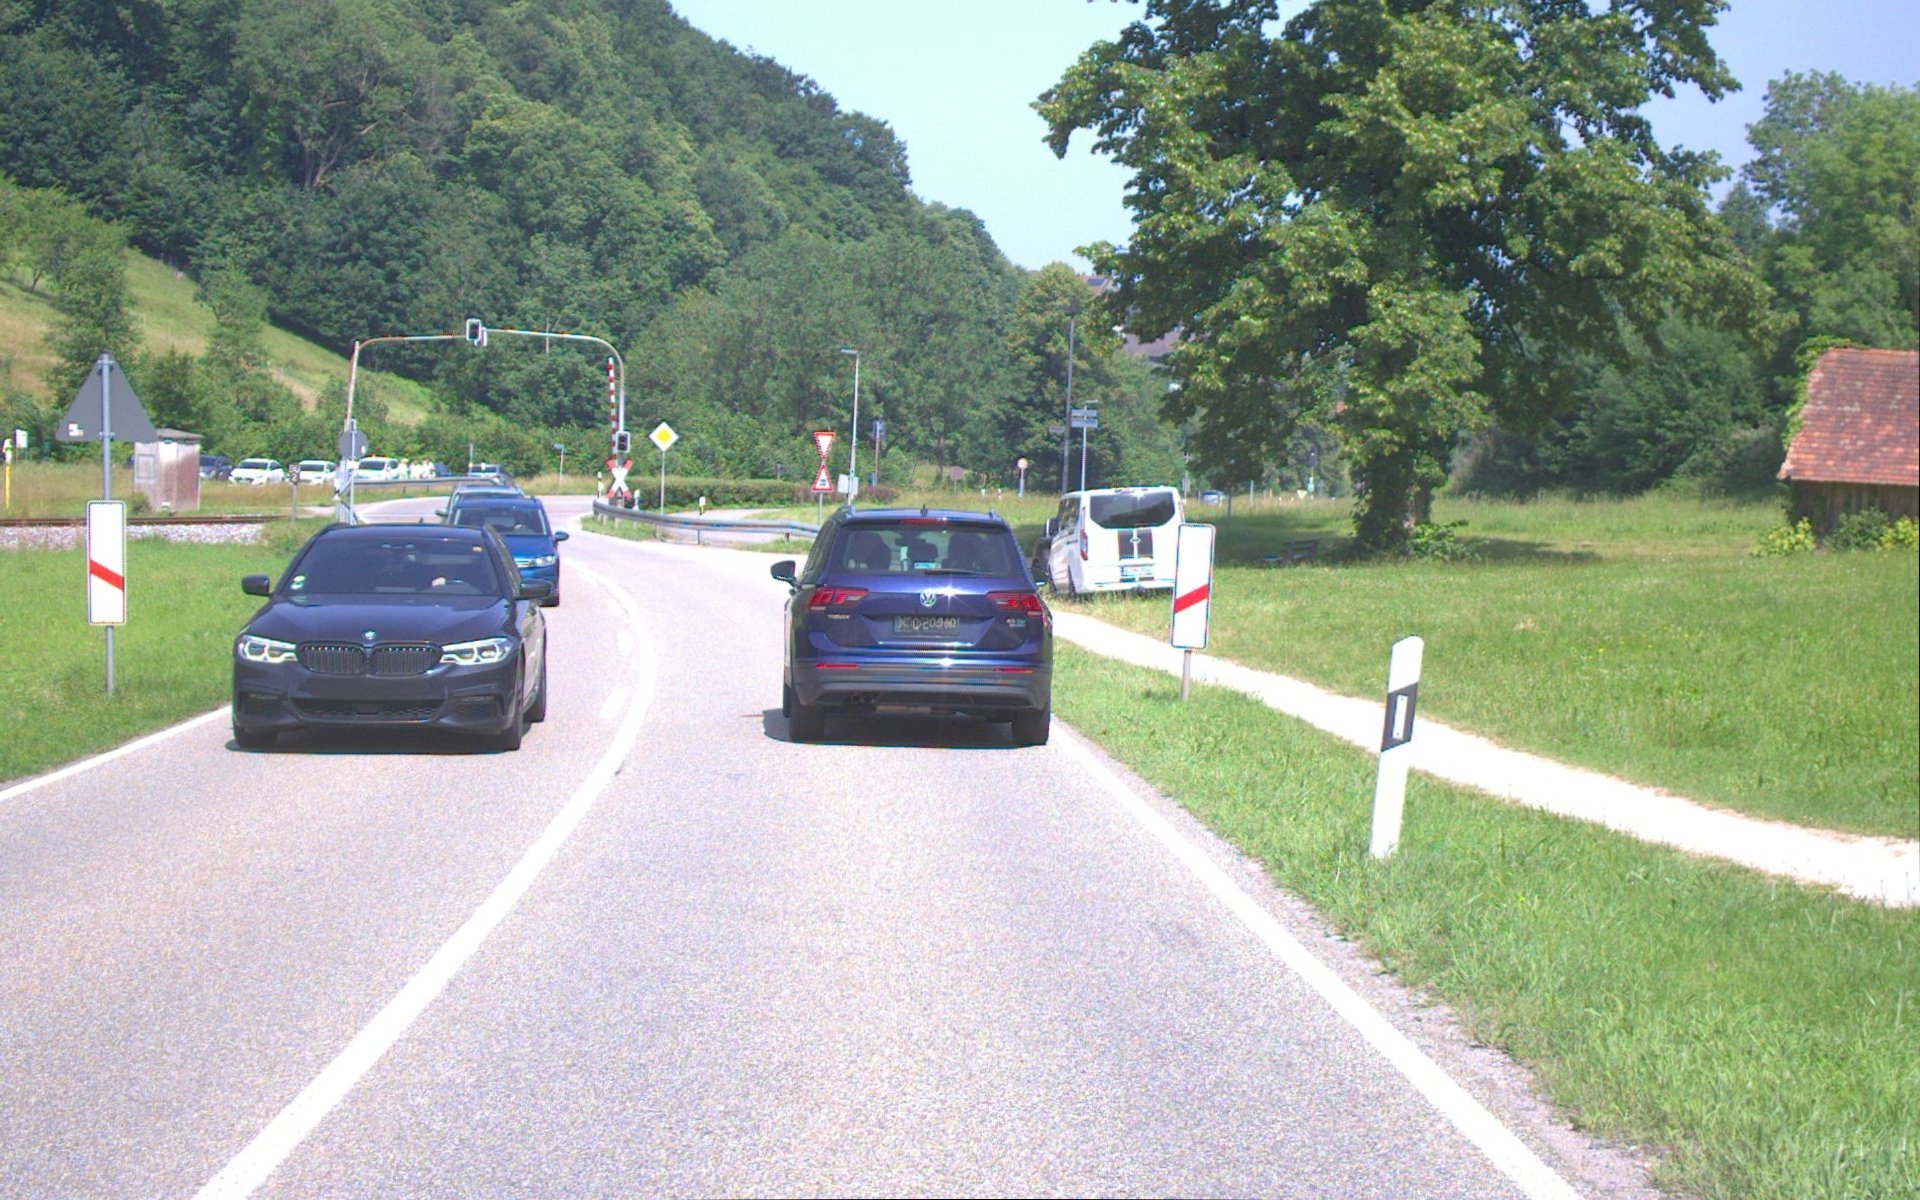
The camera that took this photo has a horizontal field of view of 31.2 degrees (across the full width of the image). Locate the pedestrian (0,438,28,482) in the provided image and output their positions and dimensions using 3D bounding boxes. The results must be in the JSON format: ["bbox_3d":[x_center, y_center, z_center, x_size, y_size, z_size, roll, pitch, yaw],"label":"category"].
[{"bbox_3d":[-43.001,-6.342,155.923,1.127,1.962,0.861,2,2,20],"label":"pedestrian"}]

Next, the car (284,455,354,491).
[{"bbox_3d":[-29.942,-5.923,160.669,1.994,1.635,4.901,1,2,5],"label":"car"}]

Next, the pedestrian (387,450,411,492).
[{"bbox_3d":[-24.938,-5.738,152.790,0.788,1.836,0.698,2,2,16],"label":"pedestrian"}]

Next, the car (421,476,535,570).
[{"bbox_3d":[-9.395,-1.523,66.799,1.914,1.708,4.161,1,2,-12],"label":"car"}]

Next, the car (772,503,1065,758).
[{"bbox_3d":[-0.388,0.146,24.980,1.852,1.643,4.141,1,2,-4],"label":"car"}]

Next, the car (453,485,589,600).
[{"bbox_3d":[-6.740,-0.930,53.131,1.865,1.618,4.512,2,2,-5],"label":"car"}]

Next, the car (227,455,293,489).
[{"bbox_3d":[-32.639,-5.964,160.420,1.994,1.495,4.522,1,2,2],"label":"car"}]

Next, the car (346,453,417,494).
[{"bbox_3d":[-27.068,-5.917,161.070,1.871,1.776,4.771,3,2,8],"label":"car"}]

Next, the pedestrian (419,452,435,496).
[{"bbox_3d":[-23.812,-5.644,153.710,0.660,1.948,0.533,1,2,-5],"label":"pedestrian"}]

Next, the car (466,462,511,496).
[{"bbox_3d":[-21.833,-5.620,159.316,1.826,1.495,4.278,1,2,-5],"label":"car"}]

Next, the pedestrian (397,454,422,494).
[{"bbox_3d":[-24.704,-5.659,154.183,0.770,1.790,0.792,2,2,31],"label":"pedestrian"}]

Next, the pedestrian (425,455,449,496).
[{"bbox_3d":[-23.470,-5.582,154.272,0.648,1.852,0.769,2,2,38],"label":"pedestrian"}]

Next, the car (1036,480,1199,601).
[{"bbox_3d":[2.618,-1.058,58.398,1.999,1.842,4.870,-3,2,-5],"label":"car"}]

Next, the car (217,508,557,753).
[{"bbox_3d":[-3.855,0.132,23.806,1.916,1.465,4.512,1,2,-5],"label":"car"}]
